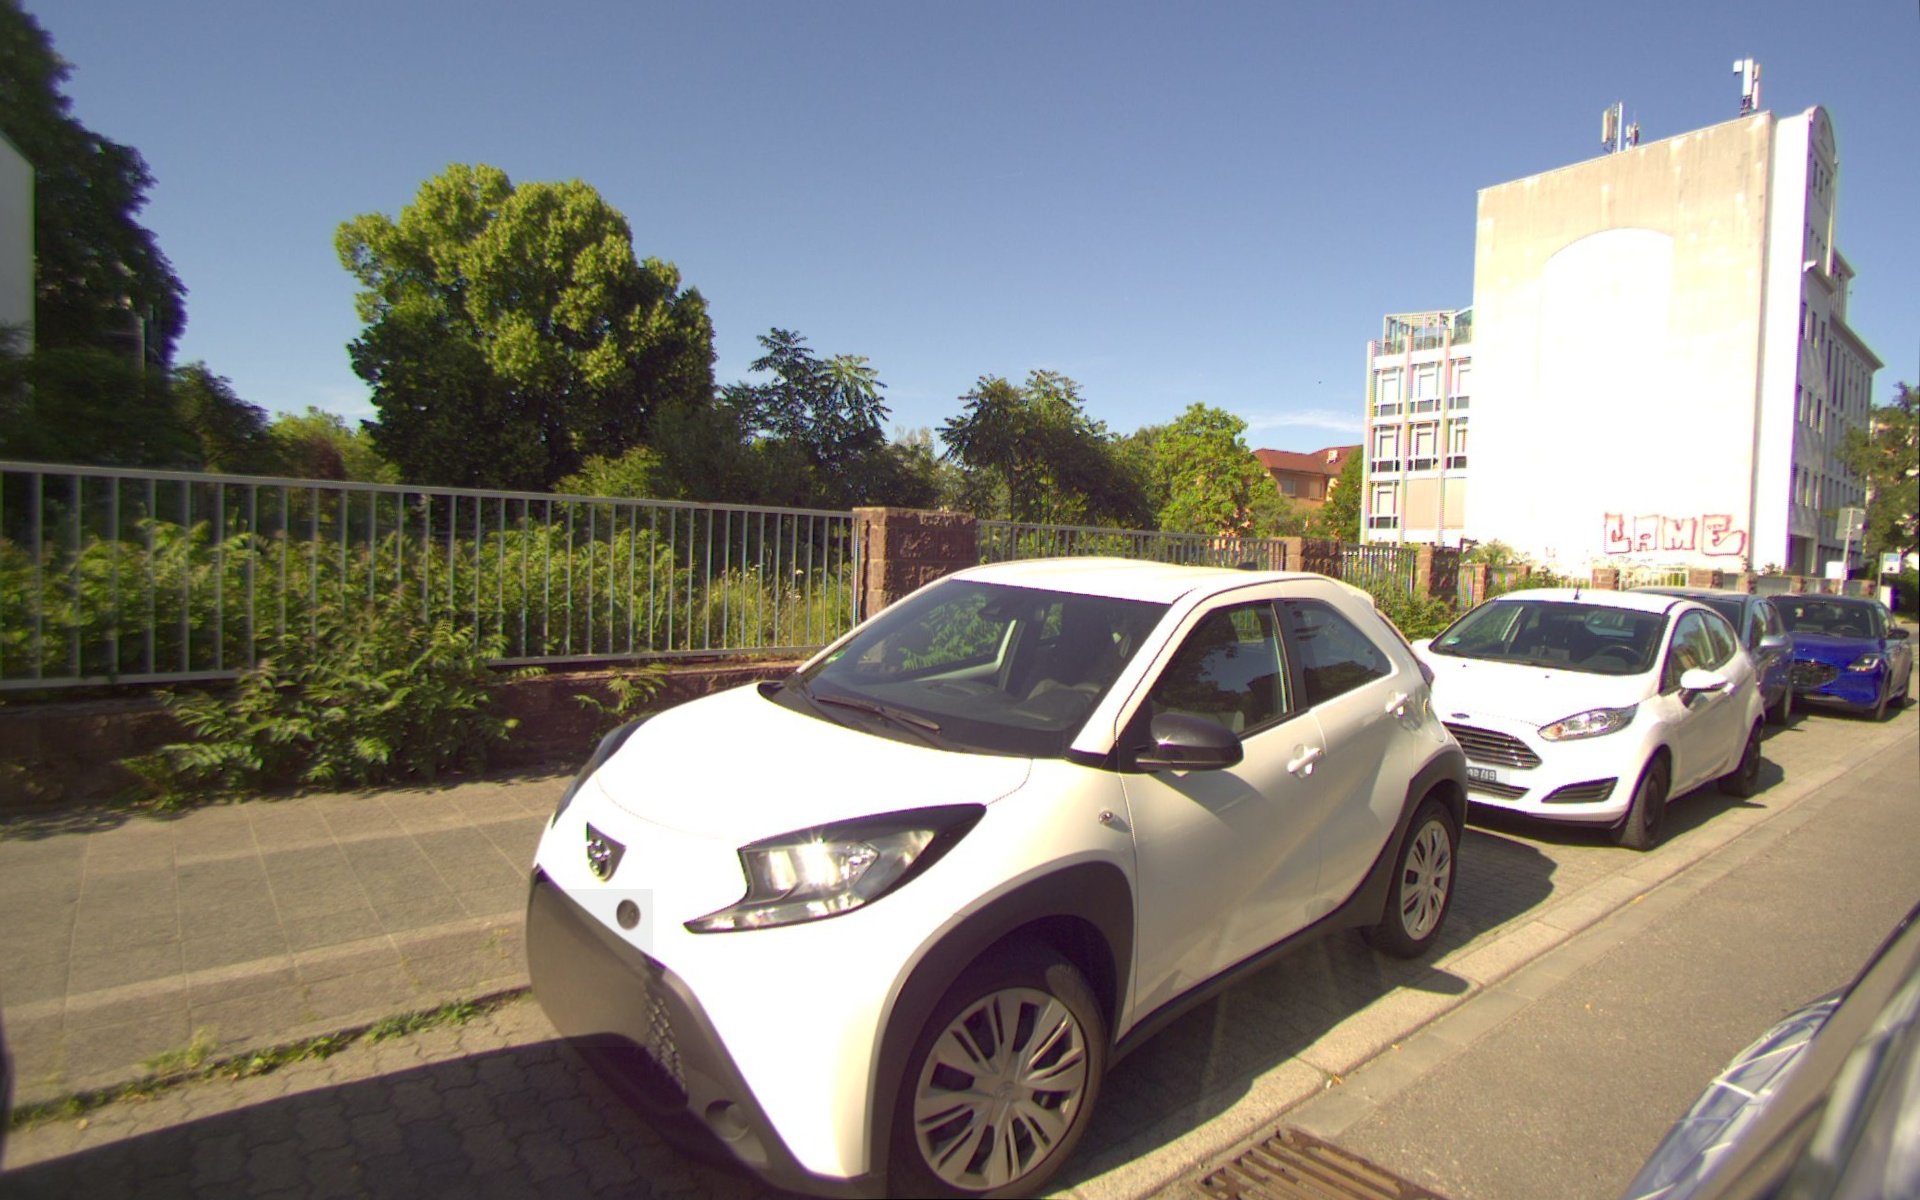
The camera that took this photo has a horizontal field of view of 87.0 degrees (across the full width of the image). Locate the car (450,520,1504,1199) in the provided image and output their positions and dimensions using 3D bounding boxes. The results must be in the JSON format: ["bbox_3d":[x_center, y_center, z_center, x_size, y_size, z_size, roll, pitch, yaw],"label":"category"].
[{"bbox_3d":[0.370,0.579,3.620,3.599,1.537,1.670,0,3,-43],"label":"car"}]

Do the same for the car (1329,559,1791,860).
[{"bbox_3d":[4.294,0.551,7.042,3.594,1.463,1.613,0,6,-41],"label":"car"}]

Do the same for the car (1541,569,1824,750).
[{"bbox_3d":[7.903,0.503,10.931,3.919,1.477,1.671,0,6,-43],"label":"car"}]

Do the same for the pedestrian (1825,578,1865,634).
[{"bbox_3d":[26.366,0.167,30.158,0.881,1.603,0.745,0,1,-40],"label":"pedestrian"}]

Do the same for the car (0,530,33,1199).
[{"bbox_3d":[-3.016,0.593,0.493,3.709,1.410,1.671,0,3,-41],"label":"car"}]

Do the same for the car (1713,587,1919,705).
[{"bbox_3d":[11.534,0.509,13.404,3.833,1.196,1.672,0,6,-42],"label":"car"}]
